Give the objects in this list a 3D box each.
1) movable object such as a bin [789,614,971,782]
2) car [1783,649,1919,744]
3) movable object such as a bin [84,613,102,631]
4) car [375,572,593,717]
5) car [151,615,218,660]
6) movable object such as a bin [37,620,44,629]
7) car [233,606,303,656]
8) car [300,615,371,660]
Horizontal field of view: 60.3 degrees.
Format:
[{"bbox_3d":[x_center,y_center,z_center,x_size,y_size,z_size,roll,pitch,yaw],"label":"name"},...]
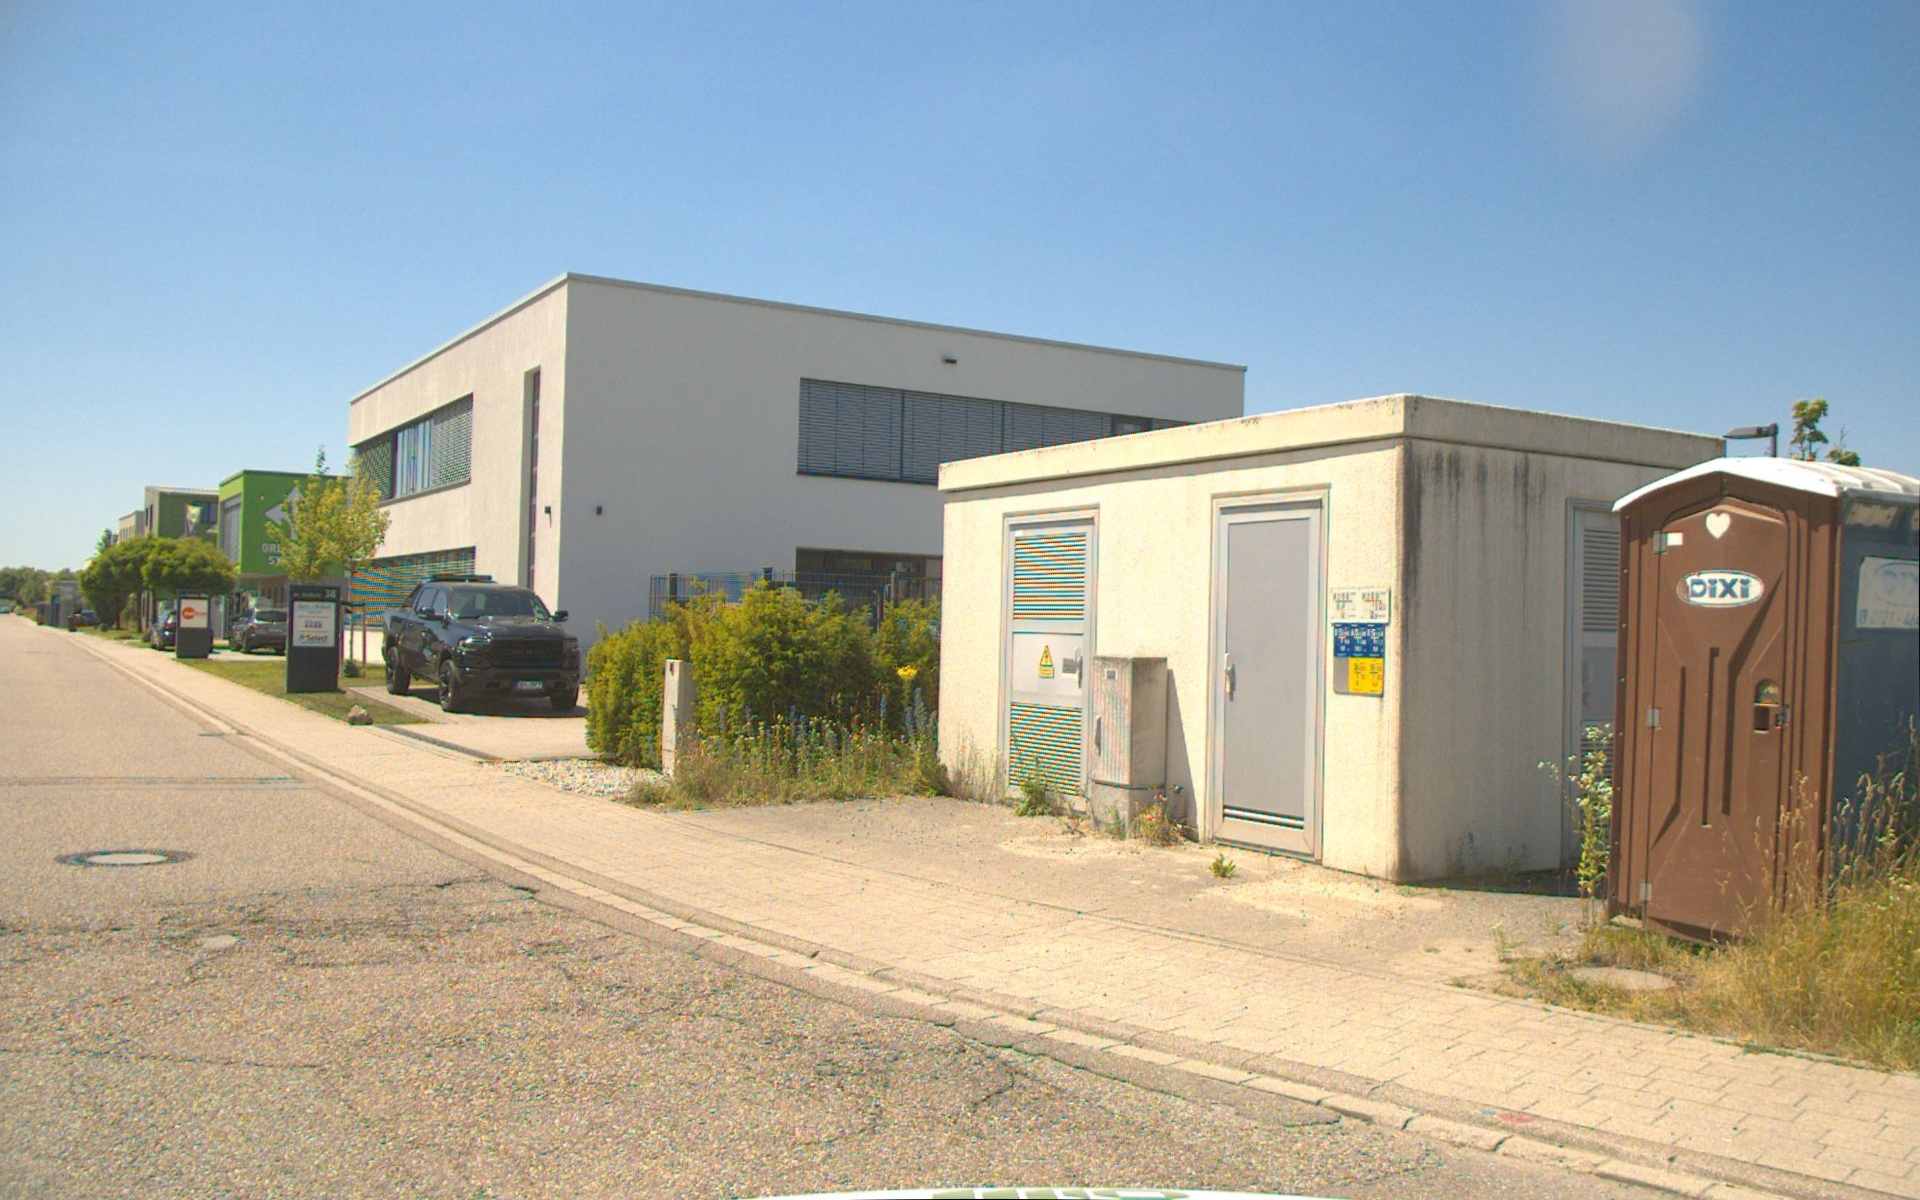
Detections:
[{"bbox_3d":[-0.789,0.931,16.178,1.369,1.549,1.157,2,-1,-32],"label":"movable object such as a bin"},{"bbox_3d":[16.033,1.594,27.377,1.836,1.531,3.957,2,-3,-31],"label":"car"},{"bbox_3d":[-73.668,1.880,140.556,1.321,1.485,0.938,2,-2,-31],"label":"movable object such as a bin"},{"bbox_3d":[-8.102,0.647,27.719,1.974,2.048,5.738,2,1,-32],"label":"car"},{"bbox_3d":[-27.047,1.291,57.637,1.675,1.453,4.202,4,-2,-30],"label":"car"},{"bbox_3d":[-97.077,2.555,174.643,0.546,0.944,0.517,-2,2,-27],"label":"movable object such as a bin"},{"bbox_3d":[-24.659,1.096,58.880,1.705,1.662,3.981,4,-2,-30],"label":"car"},{"bbox_3d":[-22.524,1.321,59.556,1.705,1.475,3.981,4,-2,-30],"label":"car"}]
